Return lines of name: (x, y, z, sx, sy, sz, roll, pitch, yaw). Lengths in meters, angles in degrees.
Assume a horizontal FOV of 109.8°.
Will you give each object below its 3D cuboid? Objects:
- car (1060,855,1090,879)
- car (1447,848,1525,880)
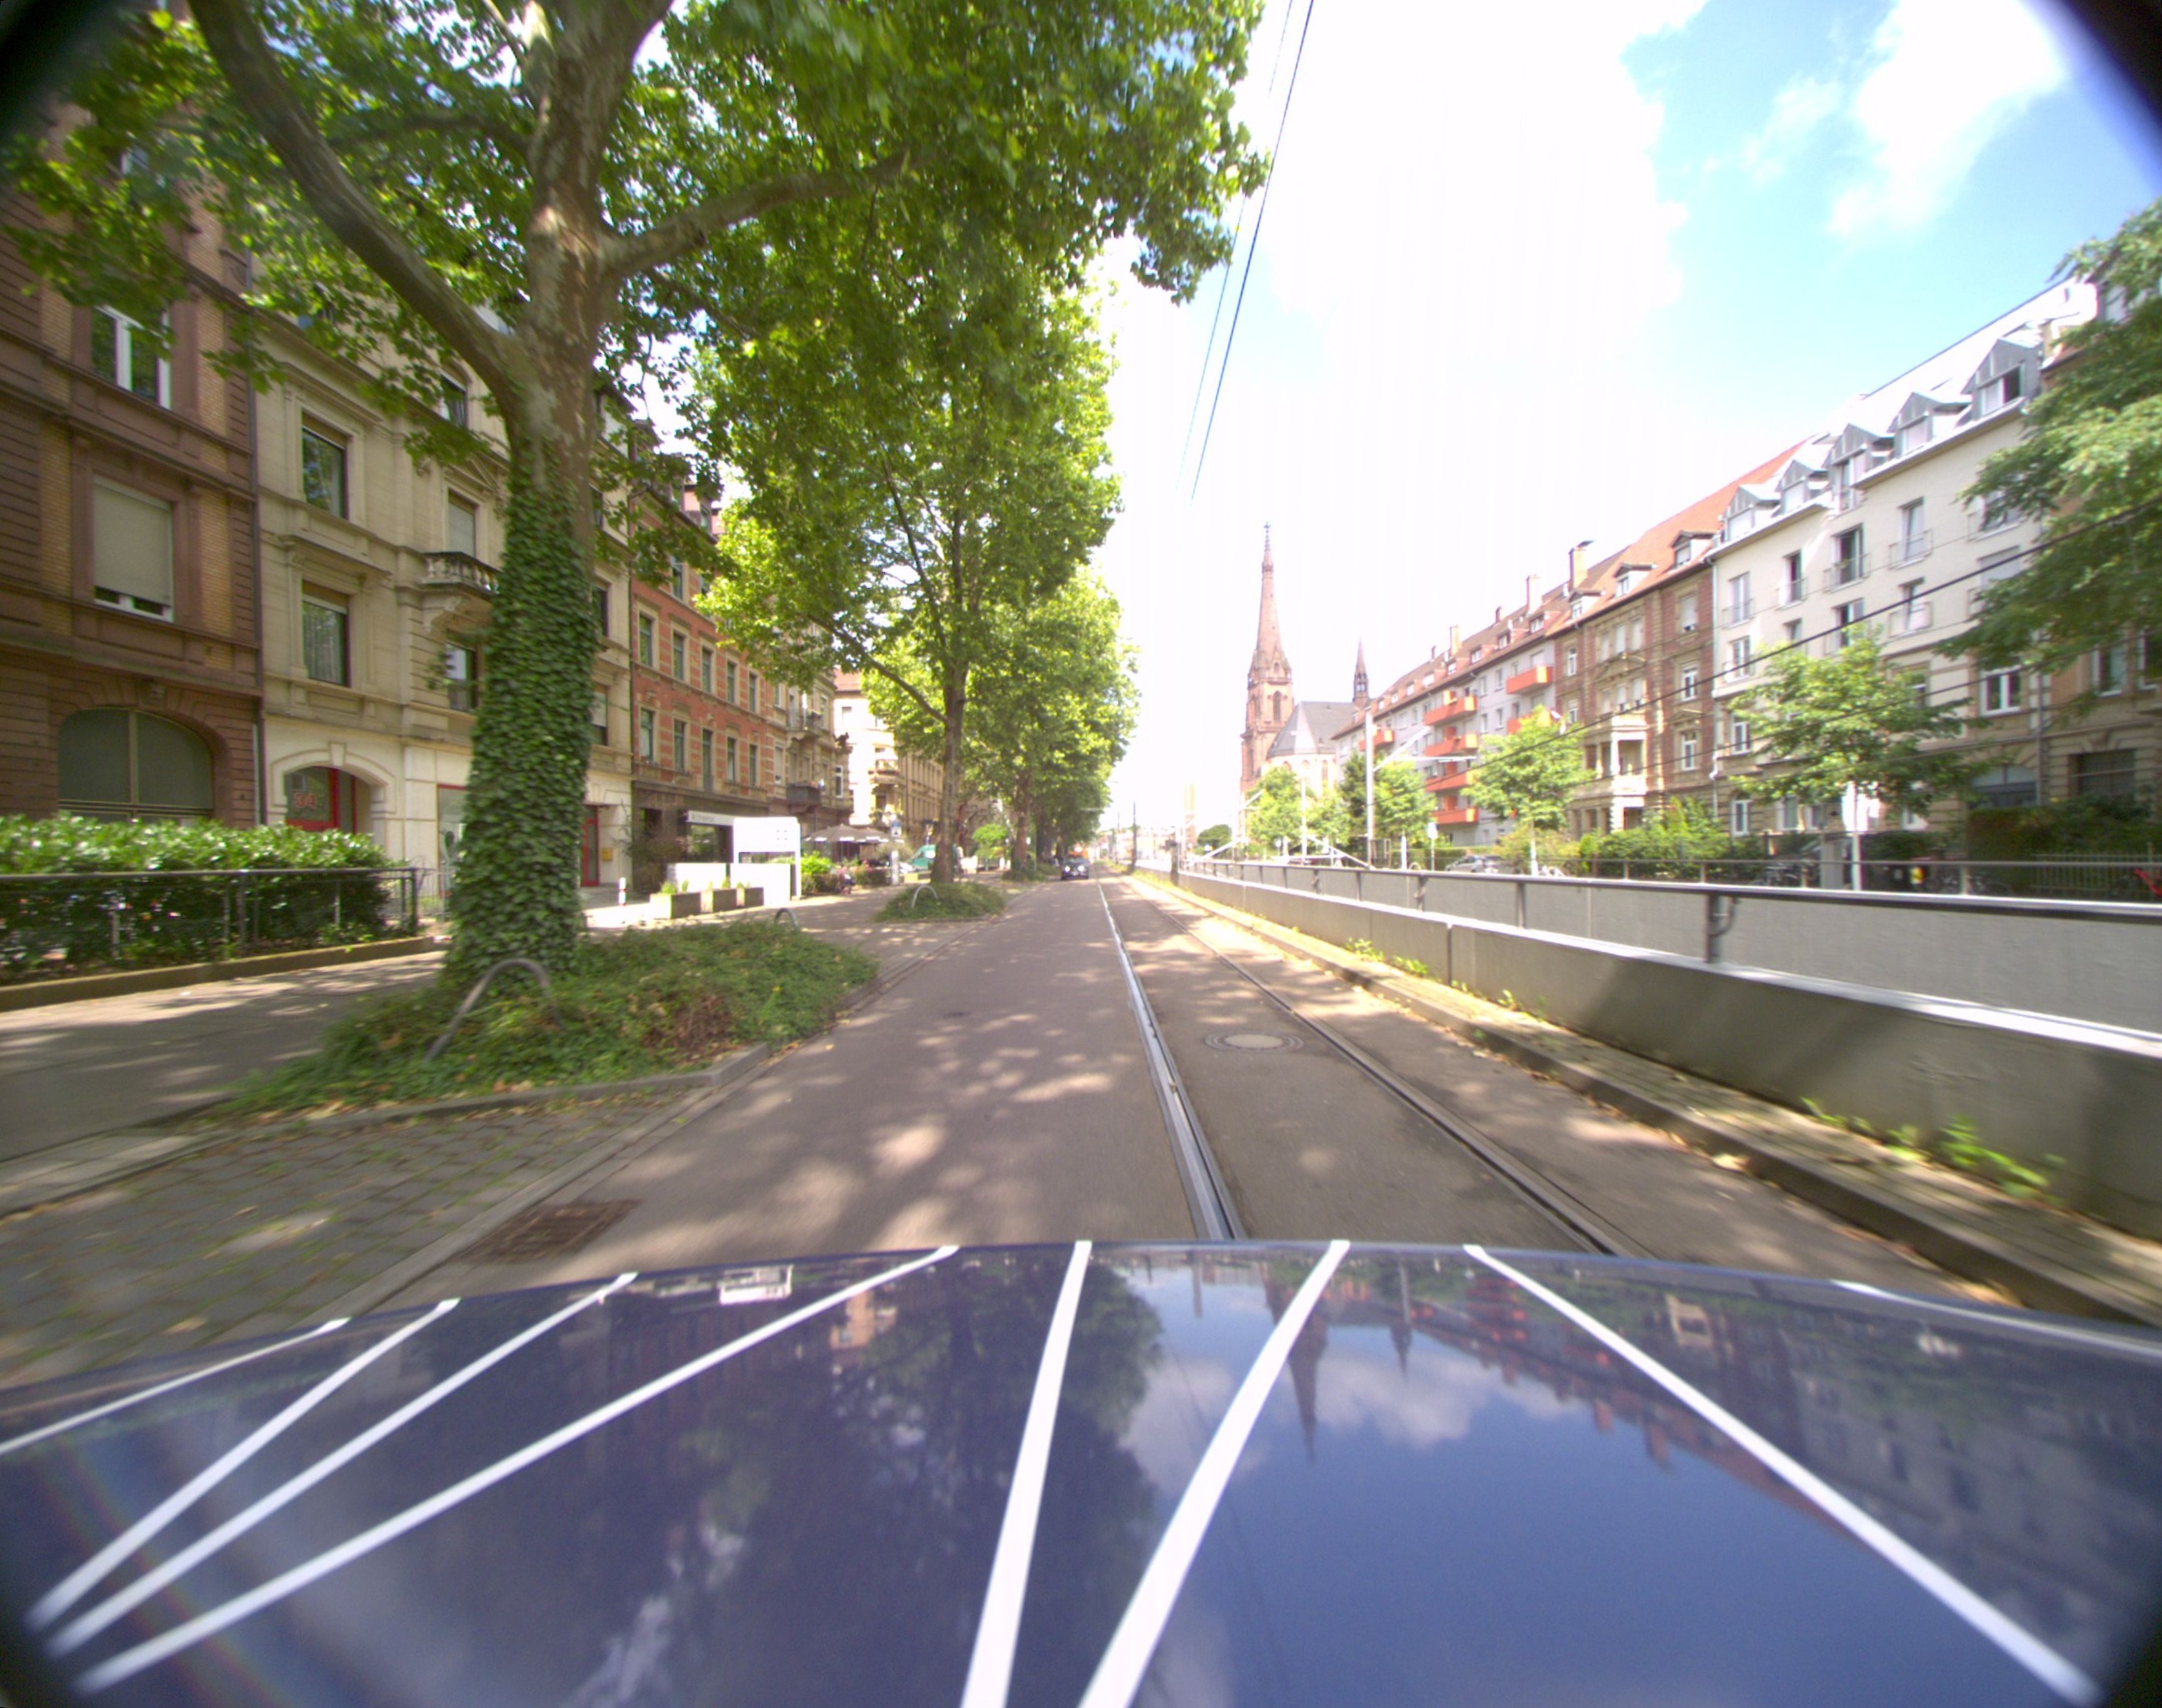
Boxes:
car: (-0.366, 0.812, 50.534, 1.799, 1.454, 4.567, -1, 0, 2)
car: (21.555, 0.512, 40.608, 1.998, 1.628, 4.114, -1, 0, 1)
